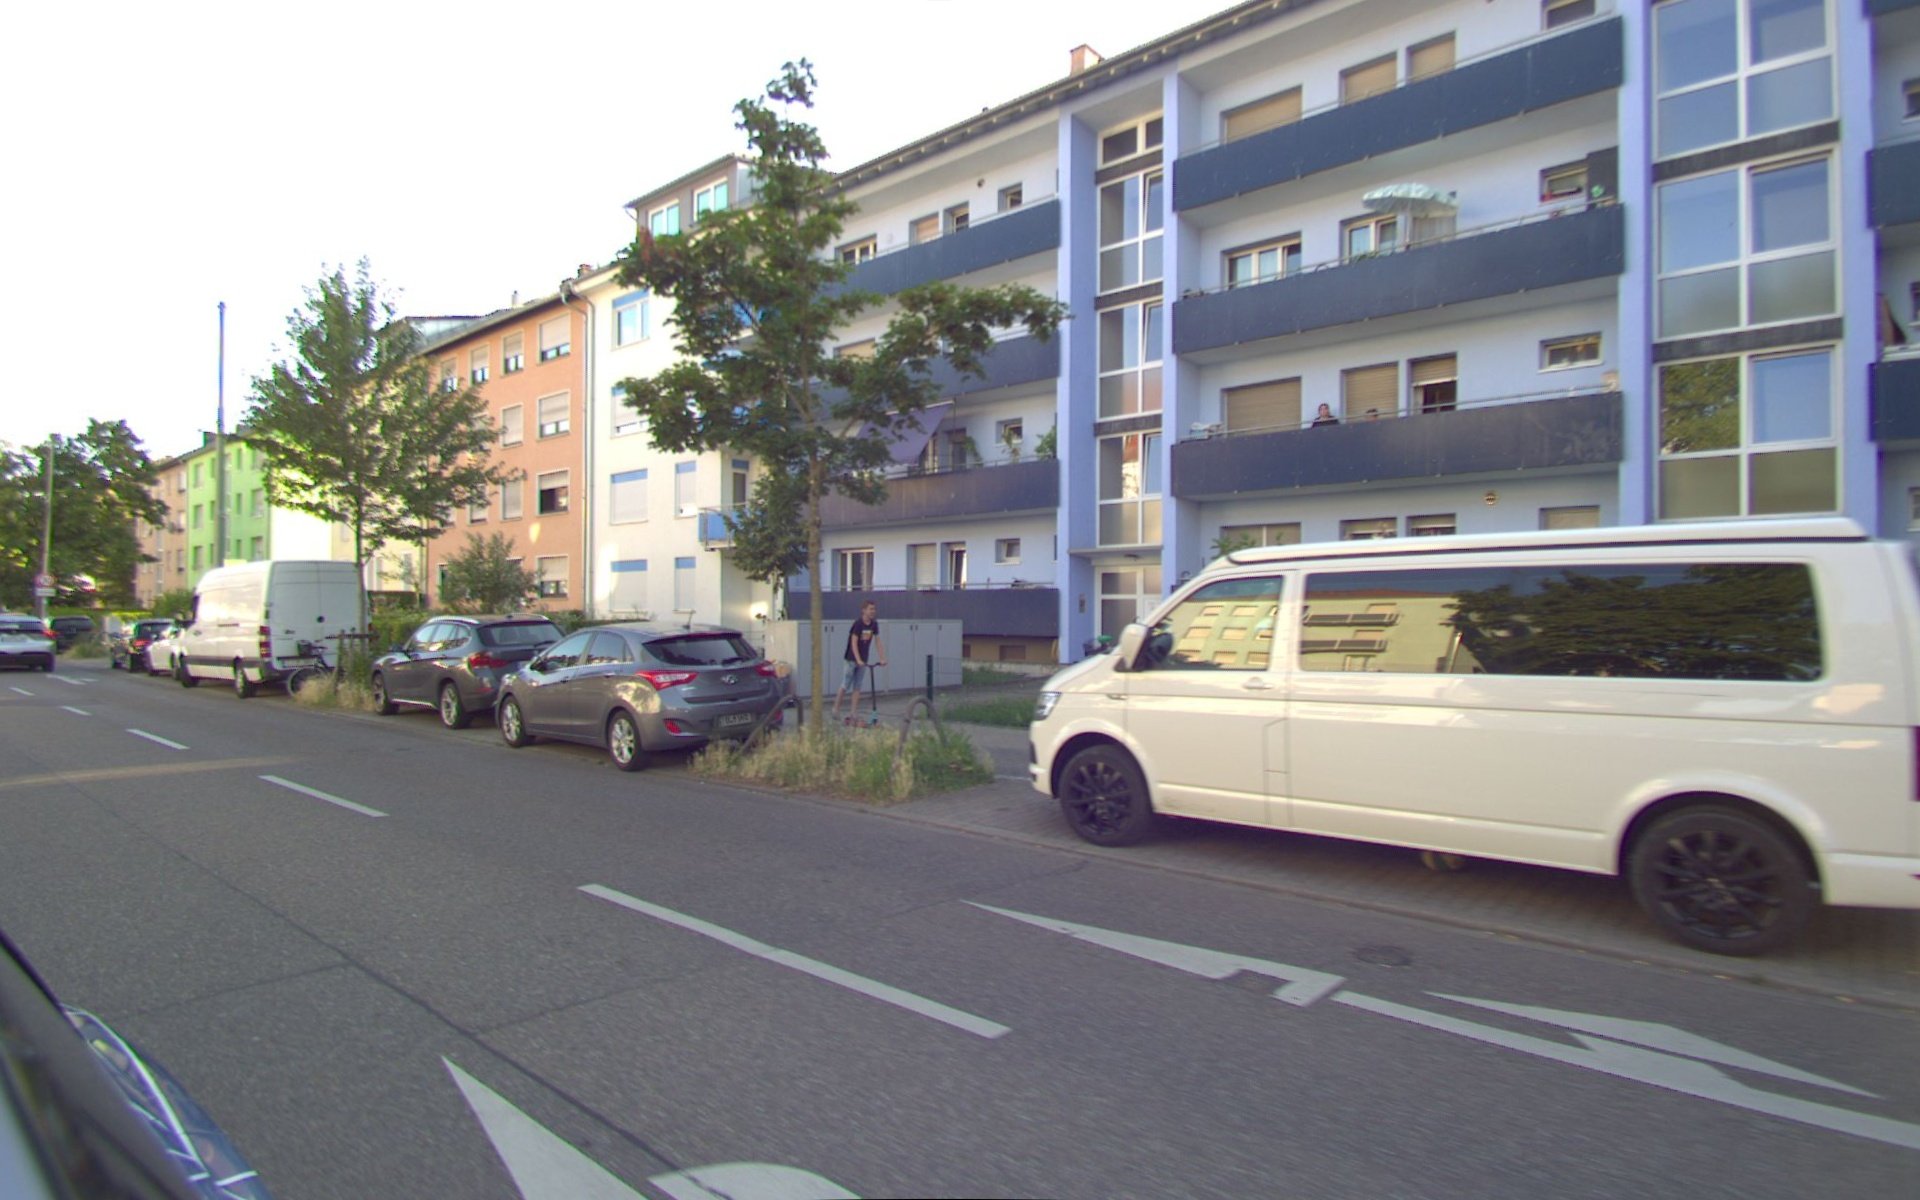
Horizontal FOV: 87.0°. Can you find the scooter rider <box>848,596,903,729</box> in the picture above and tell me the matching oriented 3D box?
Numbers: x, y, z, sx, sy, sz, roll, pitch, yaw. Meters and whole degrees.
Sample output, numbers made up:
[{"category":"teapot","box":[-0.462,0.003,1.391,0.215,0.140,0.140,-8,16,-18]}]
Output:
[{"category":"scooter rider","box":[-1.077,0.784,12.906,0.535,1.643,0.458,-1,-2,45]}]

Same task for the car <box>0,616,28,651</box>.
[{"category":"car","box":[-46.898,1.629,49.723,2.862,1.629,1.482,-1,-1,44]}]

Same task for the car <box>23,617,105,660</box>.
[{"category":"car","box":[-34.091,1.412,38.464,4.586,1.516,1.760,-1,-1,41]}]

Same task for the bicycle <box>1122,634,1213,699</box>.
[{"category":"bicycle","box":[3.440,1.082,16.865,1.477,1.022,0.433,-1,-2,42]}]

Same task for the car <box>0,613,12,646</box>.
[{"category":"car","box":[-53.619,1.609,55.622,4.615,1.746,1.765,-1,-1,42]}]

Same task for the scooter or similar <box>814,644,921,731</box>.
[{"category":"scooter or similar","box":[-1.211,1.094,12.987,0.458,1.022,1.590,2,-2,-45]}]

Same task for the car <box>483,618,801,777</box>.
[{"category":"car","box":[-3.768,0.955,11.602,4.143,1.495,1.674,-1,-1,43]}]

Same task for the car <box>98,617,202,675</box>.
[{"category":"car","box":[-23.038,1.261,28.757,3.810,1.484,1.595,-1,1,40]}]

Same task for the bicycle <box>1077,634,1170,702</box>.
[{"category":"bicycle","box":[2.603,1.067,16.167,1.477,1.022,0.433,-1,-2,42]}]

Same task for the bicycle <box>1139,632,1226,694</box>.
[{"category":"bicycle","box":[3.882,1.084,17.714,1.481,1.022,0.433,-1,-2,42]}]

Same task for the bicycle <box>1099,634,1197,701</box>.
[{"category":"bicycle","box":[3.028,1.066,16.393,1.574,1.022,0.433,-1,-2,42]}]

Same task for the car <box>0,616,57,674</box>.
[{"category":"car","box":[-26.075,1.175,27.400,3.966,1.506,1.763,0,-3,39]}]

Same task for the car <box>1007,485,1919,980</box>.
[{"category":"car","box":[2.949,0.566,6.252,5.297,2.046,1.850,-1,0,40]}]

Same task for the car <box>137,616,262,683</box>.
[{"category":"car","box":[-19.391,1.194,25.740,4.056,1.503,1.689,-1,1,41]}]

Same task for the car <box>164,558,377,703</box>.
[{"category":"car","box":[-14.779,0.584,21.454,7.101,2.636,1.973,-1,0,41]}]

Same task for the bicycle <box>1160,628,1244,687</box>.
[{"category":"bicycle","box":[4.380,1.027,18.373,1.477,1.022,0.433,-1,-2,42]}]

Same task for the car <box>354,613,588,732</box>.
[{"category":"car","box":[-7.488,0.979,15.291,4.472,1.554,1.654,-1,-1,43]}]

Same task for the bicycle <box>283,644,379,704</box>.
[{"category":"bicycle","box":[-11.735,1.361,18.897,1.454,1.022,0.440,-1,0,-42]}]
